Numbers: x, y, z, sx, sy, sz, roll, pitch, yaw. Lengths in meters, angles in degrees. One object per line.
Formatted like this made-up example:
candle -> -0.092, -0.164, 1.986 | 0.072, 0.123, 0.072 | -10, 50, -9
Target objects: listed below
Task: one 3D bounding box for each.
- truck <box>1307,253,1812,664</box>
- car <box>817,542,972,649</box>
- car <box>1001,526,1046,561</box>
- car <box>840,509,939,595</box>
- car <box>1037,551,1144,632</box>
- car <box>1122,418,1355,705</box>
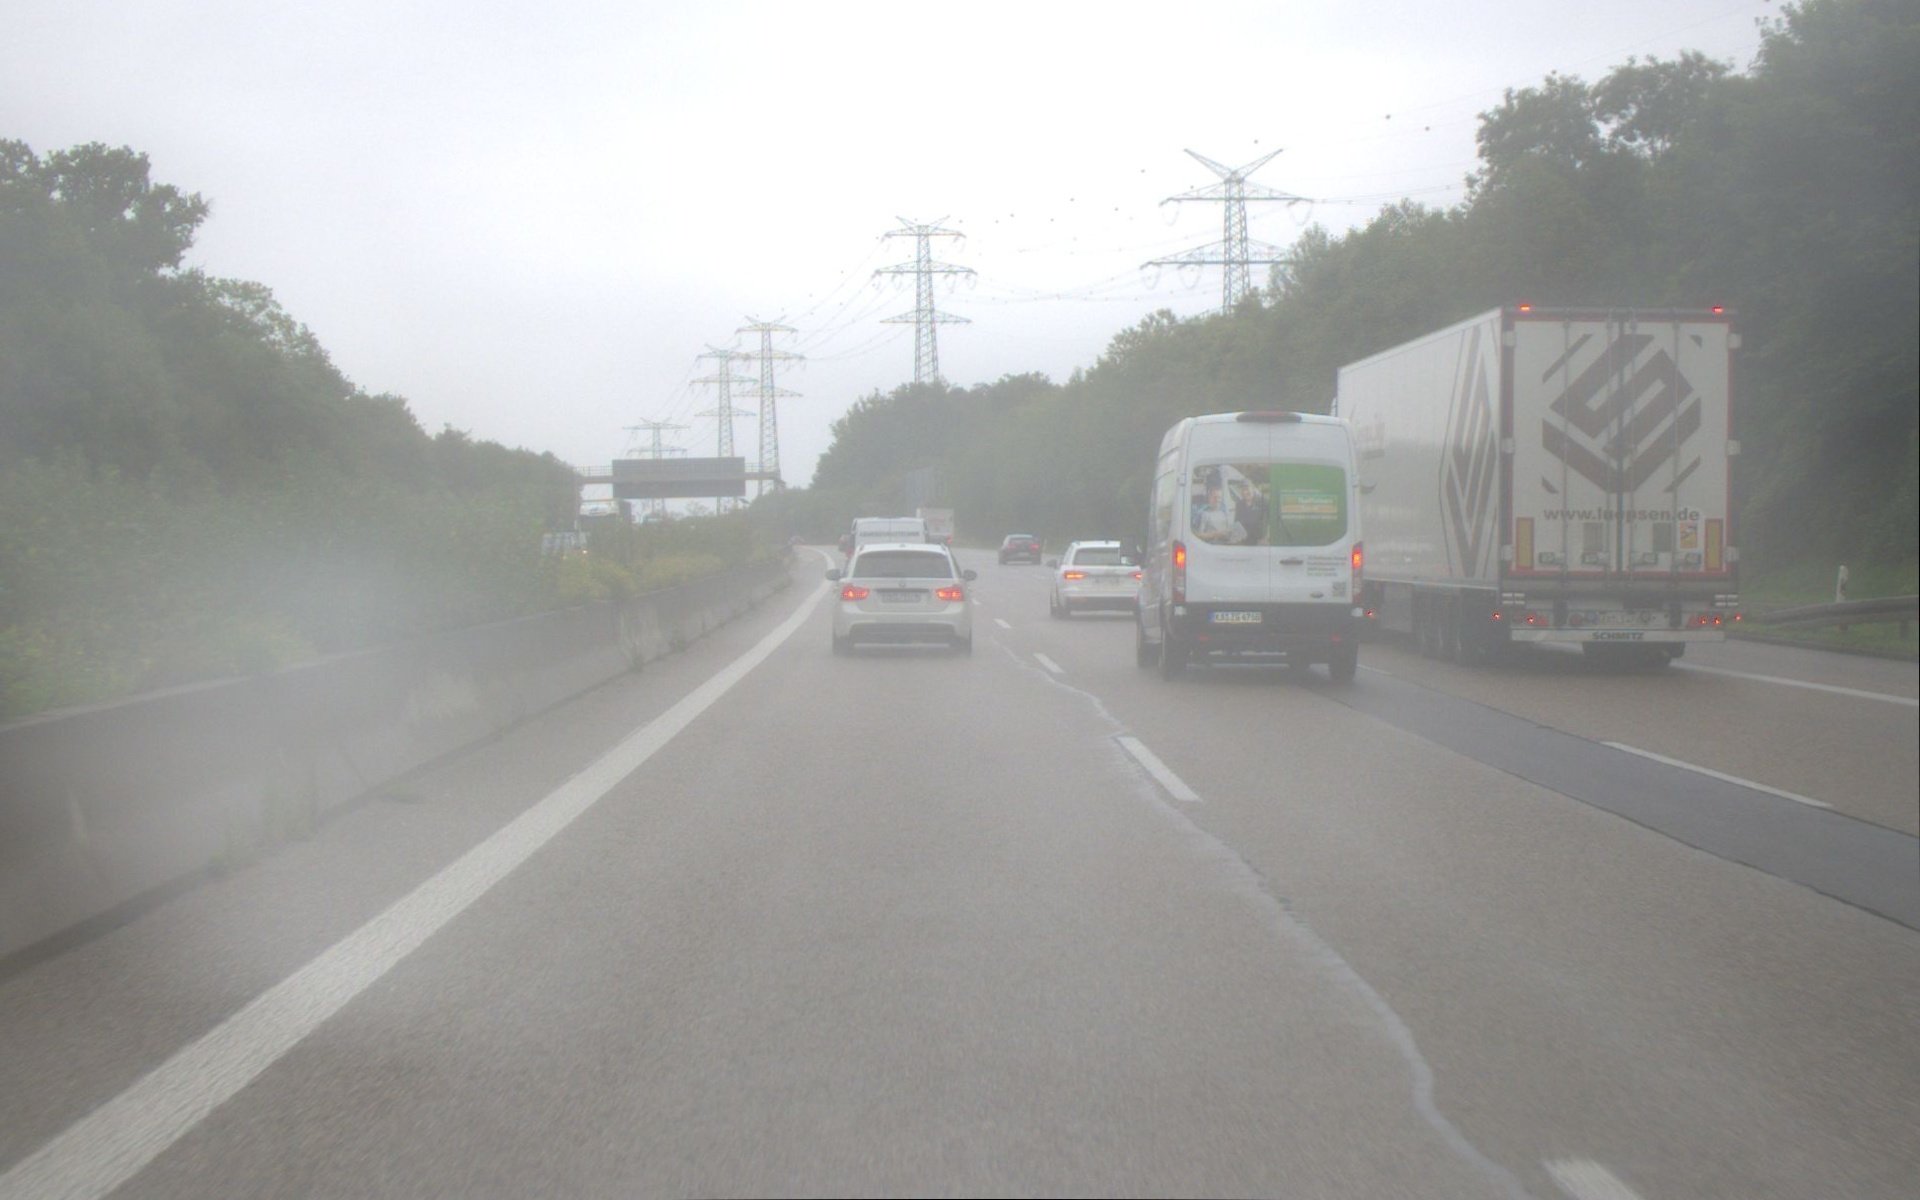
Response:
truck -> 7.012, -1.550, 42.972 | 3.603, 4.317, 13.201 | 0, 0, -2
car -> -0.795, -0.093, 44.195 | 1.866, 1.284, 4.000 | -1, 1, 0
car -> 3.004, -2.647, 161.803 | 1.994, 1.481, 4.000 | -2, 0, 2
car -> -1.488, -1.041, 74.097 | 1.846, 1.766, 4.000 | -1, 1, 3
car -> 2.396, -0.183, 62.365 | 1.857, 1.418, 4.000 | 0, 1, 3
car -> 2.895, -0.420, 36.544 | 1.993, 2.854, 4.000 | -1, 1, -2
